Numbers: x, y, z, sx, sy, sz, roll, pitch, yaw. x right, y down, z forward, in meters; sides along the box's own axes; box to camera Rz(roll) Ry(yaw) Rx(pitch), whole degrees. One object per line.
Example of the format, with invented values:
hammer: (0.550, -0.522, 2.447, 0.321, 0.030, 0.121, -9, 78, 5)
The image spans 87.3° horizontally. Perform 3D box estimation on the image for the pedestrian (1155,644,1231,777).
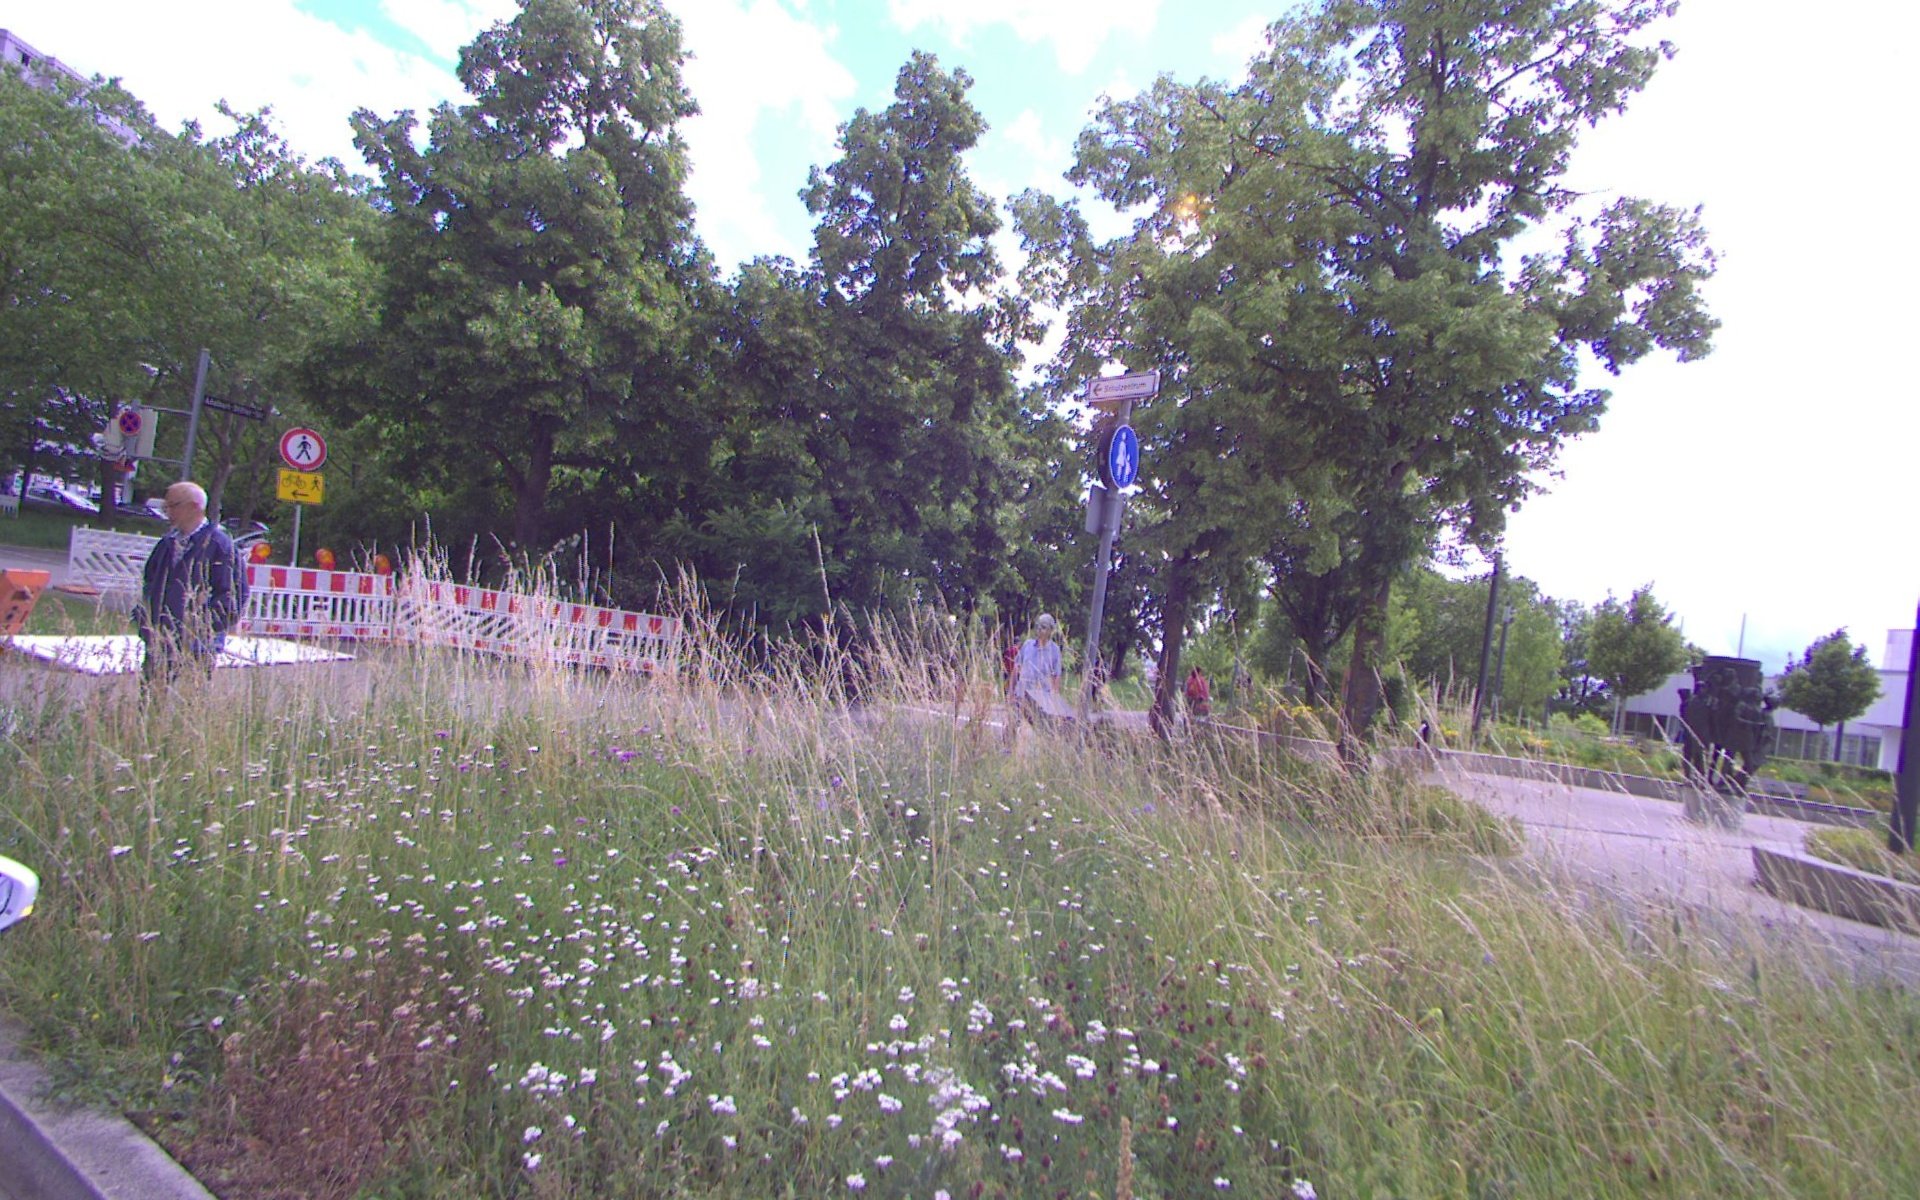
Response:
pedestrian: (3.250, 1.529, 14.032, 0.685, 1.715, 0.651, 7, 0, 28)

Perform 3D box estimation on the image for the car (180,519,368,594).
car: (-21.188, -1.306, 31.263, 1.744, 1.604, 4.405, 6, -2, 33)

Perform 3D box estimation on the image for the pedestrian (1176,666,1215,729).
pedestrian: (6.078, 2.500, 25.911, 0.624, 1.519, 0.704, 7, 0, 29)

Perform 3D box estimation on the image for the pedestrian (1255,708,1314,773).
pedestrian: (5.086, 2.183, 15.760, 0.685, 0.874, 0.651, 7, 0, 28)

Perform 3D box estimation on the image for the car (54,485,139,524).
car: (-54.463, -5.993, 63.463, 3.751, 1.653, 1.674, 9, -1, 1)

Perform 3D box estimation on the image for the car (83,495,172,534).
car: (-43.774, -4.495, 52.943, 3.345, 1.420, 1.486, 7, -2, 2)

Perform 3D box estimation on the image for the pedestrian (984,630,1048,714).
pedestrian: (1.224, 1.558, 21.862, 0.974, 1.671, 0.871, 7, 0, 21)

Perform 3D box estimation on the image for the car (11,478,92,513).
car: (-54.444, -6.250, 60.330, 3.345, 1.420, 1.486, 7, -2, 1)

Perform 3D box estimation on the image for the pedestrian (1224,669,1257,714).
pedestrian: (11.275, 3.667, 40.423, 0.974, 1.671, 0.871, 7, 0, 21)

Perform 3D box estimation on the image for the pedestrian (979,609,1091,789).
pedestrian: (0.808, 1.066, 10.907, 0.719, 1.812, 0.690, 8, 0, 44)

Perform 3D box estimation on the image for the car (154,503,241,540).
car: (-44.638, -4.599, 58.900, 3.820, 1.482, 1.486, 7, -1, 1)

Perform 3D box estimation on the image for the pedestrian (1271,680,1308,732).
pedestrian: (11.483, 3.677, 35.054, 0.974, 1.671, 0.871, 7, 0, 21)

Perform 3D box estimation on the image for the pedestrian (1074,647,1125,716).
pedestrian: (3.731, 2.169, 26.804, 0.974, 1.671, 0.871, 7, 0, 21)

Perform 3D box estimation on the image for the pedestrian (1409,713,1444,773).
pedestrian: (10.760, 3.282, 23.188, 0.560, 1.277, 0.582, 7, -1, 29)

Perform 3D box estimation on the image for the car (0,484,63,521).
car: (-49.870, -5.229, 53.111, 1.456, 1.462, 3.413, 7, -2, 14)

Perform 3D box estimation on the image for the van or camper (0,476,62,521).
van or camper: (-44.310, -4.848, 46.501, 3.925, 1.704, 1.847, 8, -1, 4)

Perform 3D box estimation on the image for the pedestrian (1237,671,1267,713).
pedestrian: (12.555, 3.945, 43.171, 0.974, 1.671, 0.871, 7, 0, 21)

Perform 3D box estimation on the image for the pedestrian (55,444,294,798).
pedestrian: (-4.333, 0.120, 5.641, 0.720, 1.761, 0.949, 8, -1, -29)

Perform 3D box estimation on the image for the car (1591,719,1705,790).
car: (22.781, 5.072, 33.478, 1.606, 1.786, 3.509, 7, -2, 9)

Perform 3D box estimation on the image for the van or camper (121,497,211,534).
van or camper: (-44.558, -4.734, 56.495, 3.706, 1.372, 1.519, 8, -2, -1)

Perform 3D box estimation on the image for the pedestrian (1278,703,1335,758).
pedestrian: (7.148, 2.686, 20.763, 0.703, 0.959, 0.747, 8, -1, -21)

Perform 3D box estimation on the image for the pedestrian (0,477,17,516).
pedestrian: (-53.535, -5.816, 56.233, 0.838, 2.025, 0.806, 7, -1, 27)
